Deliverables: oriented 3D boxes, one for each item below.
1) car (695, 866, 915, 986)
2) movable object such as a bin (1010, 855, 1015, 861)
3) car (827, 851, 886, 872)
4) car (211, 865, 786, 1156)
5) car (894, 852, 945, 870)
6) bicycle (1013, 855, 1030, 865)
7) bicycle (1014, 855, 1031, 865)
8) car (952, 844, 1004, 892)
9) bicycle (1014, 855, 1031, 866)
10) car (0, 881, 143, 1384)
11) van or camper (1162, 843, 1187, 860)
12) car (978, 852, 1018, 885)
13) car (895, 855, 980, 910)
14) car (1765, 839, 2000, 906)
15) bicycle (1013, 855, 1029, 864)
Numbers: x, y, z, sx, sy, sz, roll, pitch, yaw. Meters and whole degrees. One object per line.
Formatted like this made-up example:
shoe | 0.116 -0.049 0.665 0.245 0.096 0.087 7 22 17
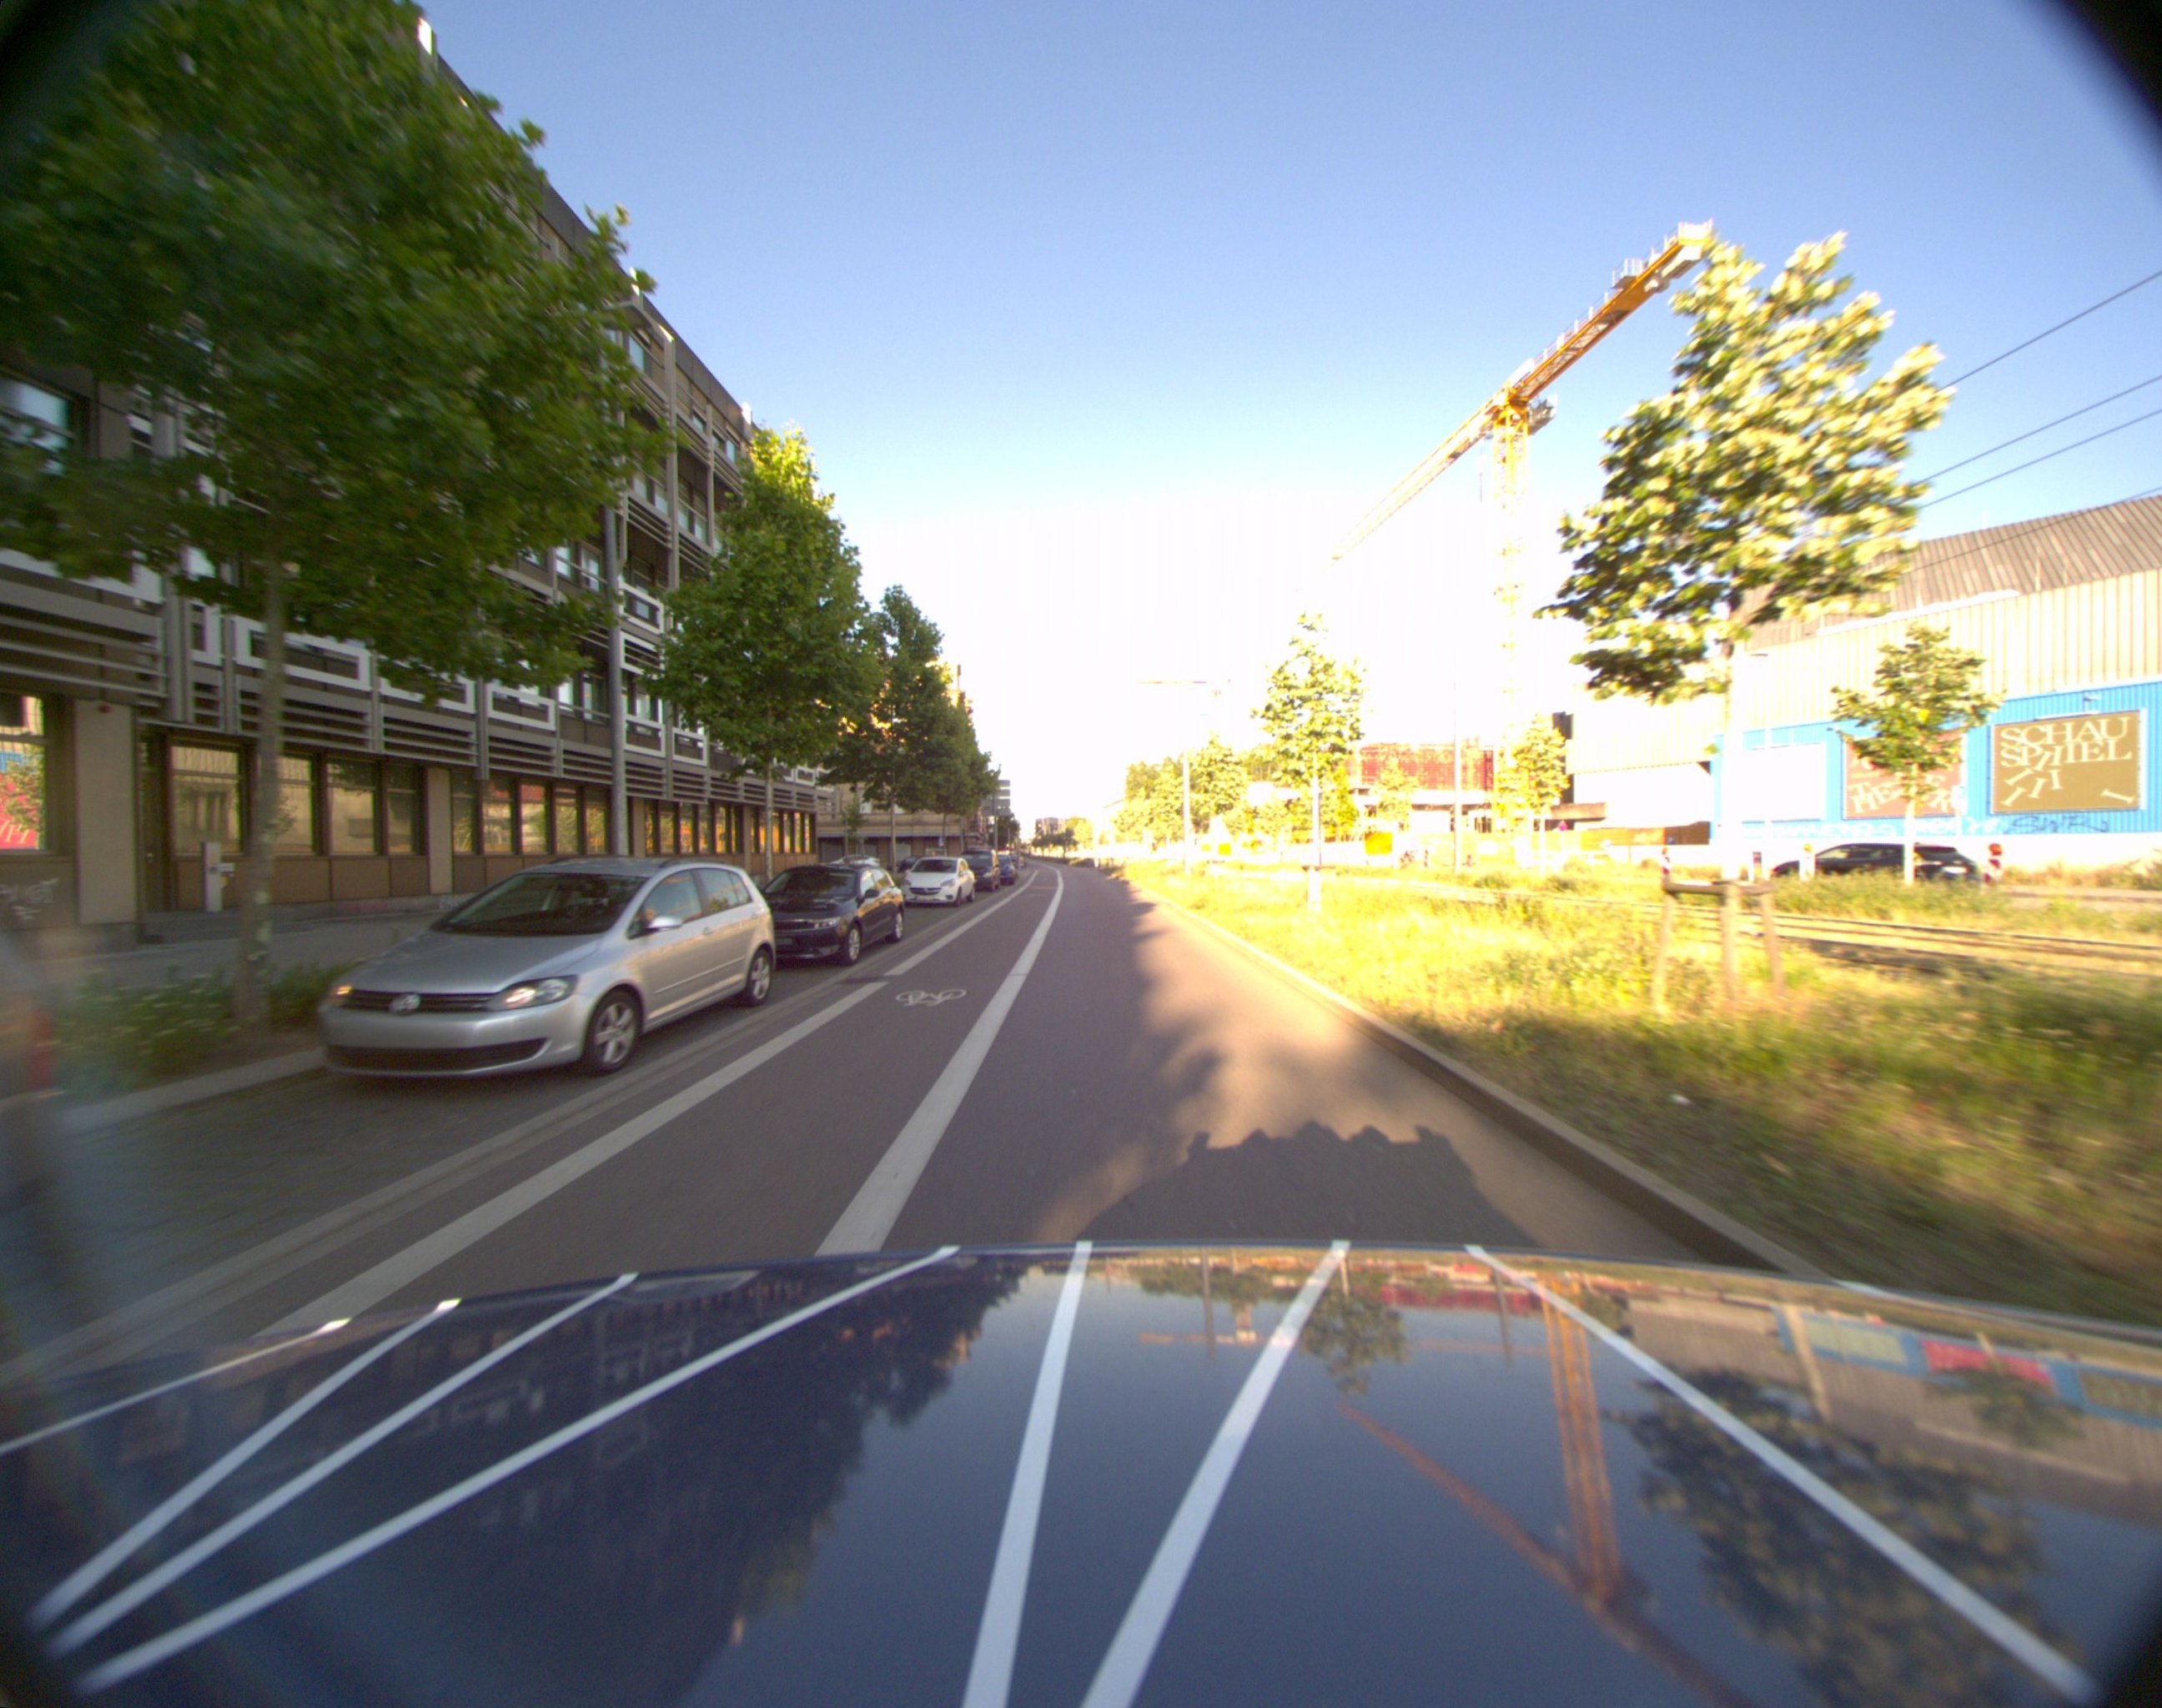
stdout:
car | -4.072 0.972 12.058 1.799 1.440 4.376 1 0 1
movable object such as a bin | -10.763 0.560 119.318 0.676 0.919 0.561 3 2 14
car | -18.983 0.604 64.390 4.555 1.586 1.861 -1 2 -11
car | -4.273 0.961 6.607 1.732 1.612 4.216 1 0 0
car | -13.851 0.572 65.370 4.276 1.442 1.861 -1 2 -11
bicycle | -6.803 0.644 86.924 1.849 1.098 0.566 2 1 0
bicycle | -6.391 0.663 82.546 1.758 1.098 0.507 2 1 0
car | -4.446 0.561 33.195 1.739 1.908 4.392 1 0 -1
bicycle | -6.359 0.675 81.978 1.758 1.098 0.507 2 1 0
car | -4.518 0.944 0.690 1.732 1.678 4.514 1 0 0
van or camper | 14.068 -0.362 114.774 2.228 2.495 7.197 1 0 -6
car | -4.364 0.708 40.392 1.937 1.589 4.696 1 0 -5
car | -4.284 0.795 23.334 1.668 1.481 4.204 1 0 2
car | 21.885 0.450 21.060 1.998 1.641 4.270 -1 0 0
bicycle | -6.982 0.654 88.425 1.809 1.041 0.566 2 1 0
